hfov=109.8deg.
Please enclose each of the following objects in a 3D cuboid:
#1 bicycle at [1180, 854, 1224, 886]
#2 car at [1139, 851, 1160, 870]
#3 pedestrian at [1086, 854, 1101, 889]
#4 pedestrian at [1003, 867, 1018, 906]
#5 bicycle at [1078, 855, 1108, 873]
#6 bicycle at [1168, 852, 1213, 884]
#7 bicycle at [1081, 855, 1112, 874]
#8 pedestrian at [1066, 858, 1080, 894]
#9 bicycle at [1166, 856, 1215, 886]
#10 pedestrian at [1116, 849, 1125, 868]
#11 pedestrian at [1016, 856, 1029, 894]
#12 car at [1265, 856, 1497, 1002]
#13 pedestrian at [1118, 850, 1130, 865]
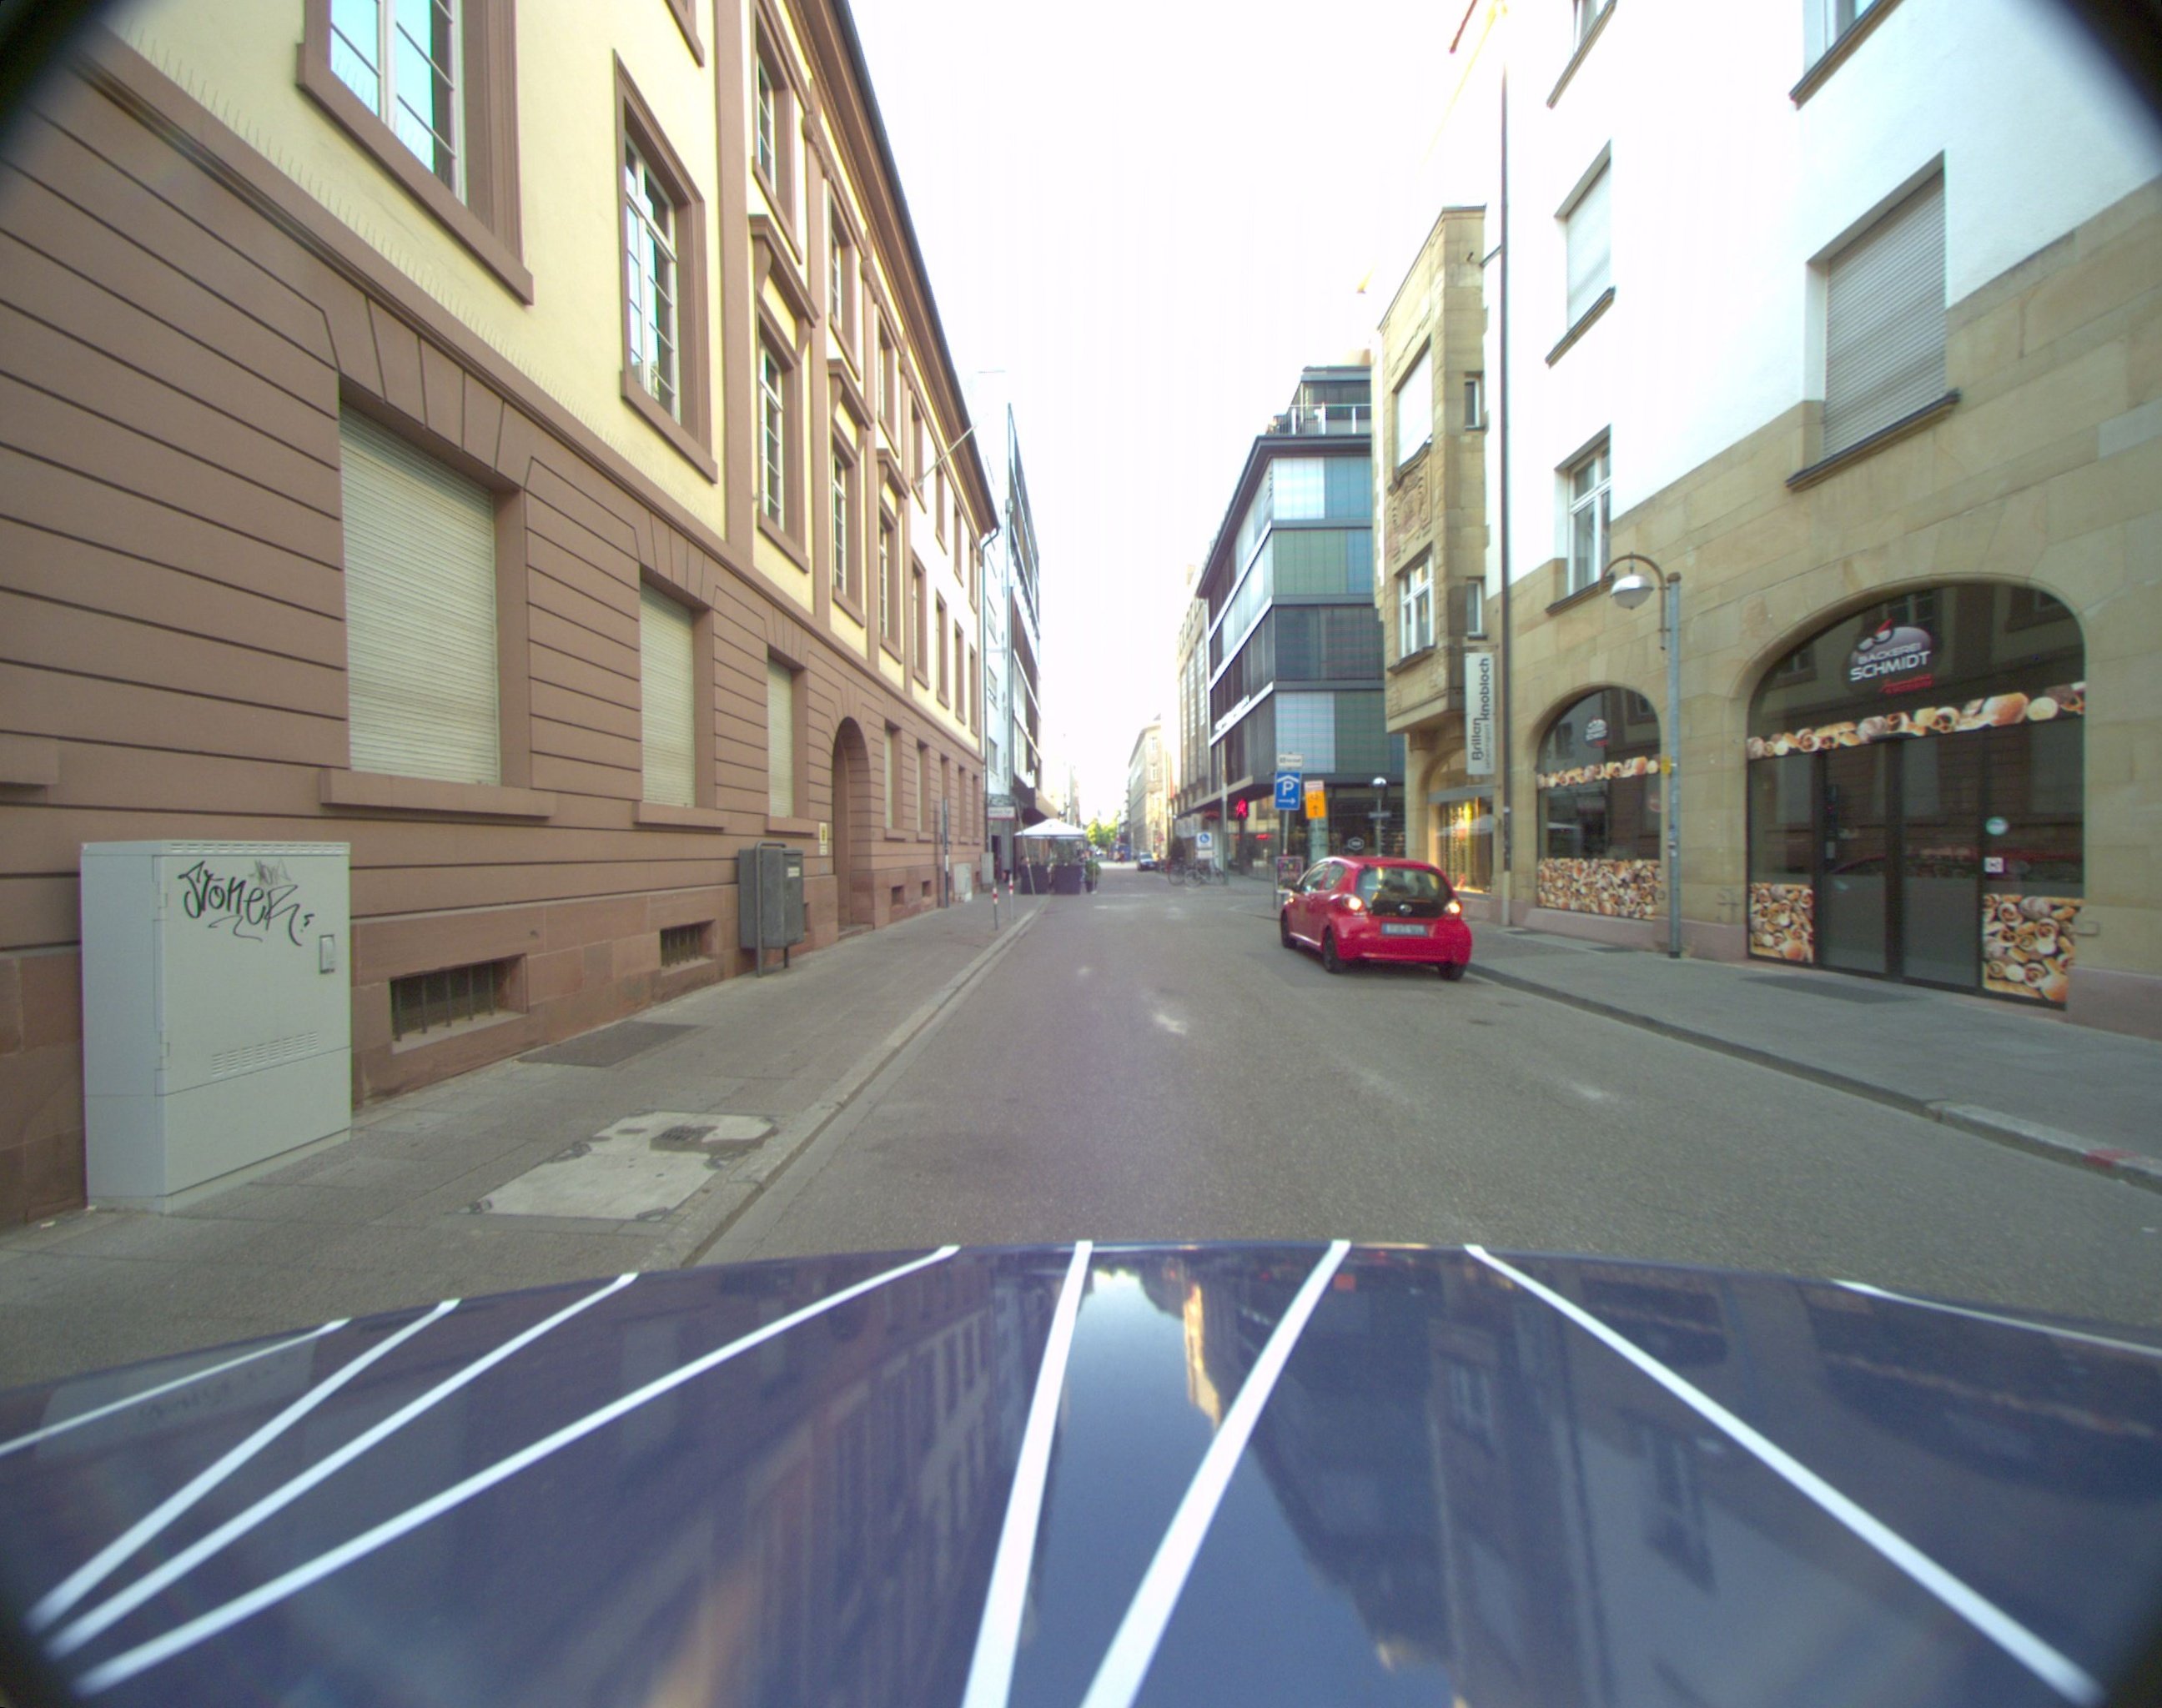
[{"bbox_3d":[4.870,0.656,30.652,1.669,1.197,0.509,-3,1,1],"label":"bicycle"},{"bbox_3d":[5.353,0.502,59.286,1.602,1.415,3.605,-1,0,5],"label":"car"},{"bbox_3d":[0.503,0.708,31.321,0.575,1.412,0.868,-1,1,2],"label":"pedestrian"},{"bbox_3d":[-3.257,1.518,35.234,0.640,1.762,0.602,-1,1,-4],"label":"pedestrian"},{"bbox_3d":[0.818,0.691,52.984,2.038,1.161,0.619,2,1,0],"label":"bicycle"},{"bbox_3d":[5.026,0.633,34.876,1.902,1.262,0.538,-5,1,2],"label":"bicycle"},{"bbox_3d":[1.065,0.705,51.298,2.038,1.161,0.665,2,1,0],"label":"bicycle"},{"bbox_3d":[-0.280,0.761,26.357,0.400,1.206,0.383,-1,1,-8],"label":"pedestrian"},{"bbox_3d":[4.629,0.726,32.160,1.902,1.174,0.517,-3,-1,0],"label":"bicycle"},{"bbox_3d":[4.144,0.473,79.211,0.804,2.002,0.878,-1,1,-6],"label":"pedestrian"},{"bbox_3d":[-2.018,0.732,26.310,0.363,1.298,0.494,-1,1,-13],"label":"pedestrian"},{"bbox_3d":[3.812,0.834,10.417,1.661,1.461,3.932,3,1,2],"label":"car"},{"bbox_3d":[4.712,0.401,83.248,0.917,1.563,0.995,0,1,45],"label":"pedestrian"}]
